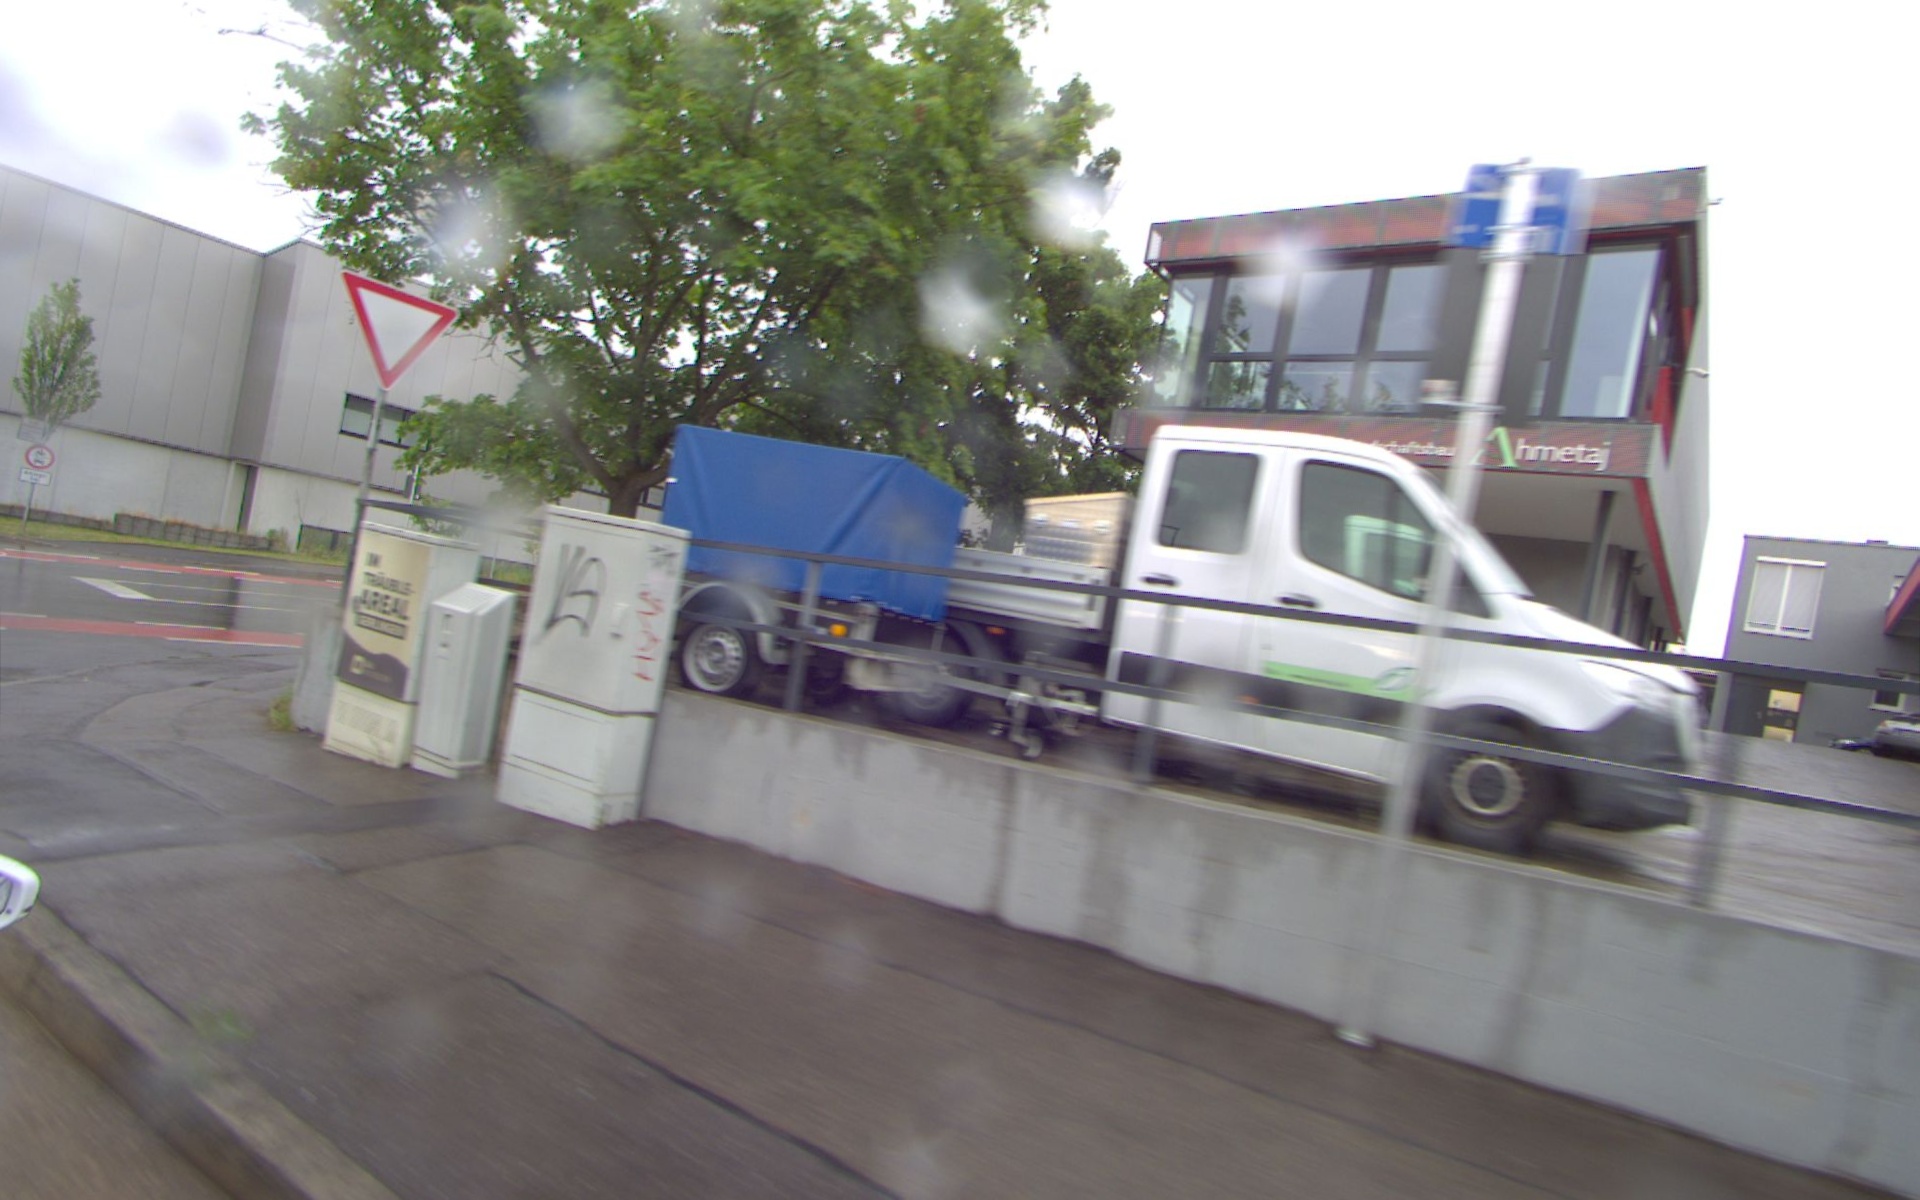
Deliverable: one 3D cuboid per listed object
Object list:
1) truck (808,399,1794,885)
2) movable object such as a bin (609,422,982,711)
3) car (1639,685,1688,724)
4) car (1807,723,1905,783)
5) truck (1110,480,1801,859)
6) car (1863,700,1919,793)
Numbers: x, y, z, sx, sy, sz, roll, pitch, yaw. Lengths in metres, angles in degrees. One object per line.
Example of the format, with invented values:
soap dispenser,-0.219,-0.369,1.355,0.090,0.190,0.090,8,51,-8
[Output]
truck,1.903,0.017,7.050,5.557,2.240,2.110,8,-1,30
movable object such as a bin,-1.023,-0.197,6.579,1.824,1.518,1.311,8,-1,21
car,32.781,4.871,46.834,1.617,1.489,3.052,7,-2,38
car,28.073,4.765,31.633,1.971,1.415,3.985,7,-1,39
truck,4.124,0.427,9.027,4.758,2.369,2.246,7,-1,33
car,23.674,3.684,24.756,1.752,2.037,3.986,7,-2,39
